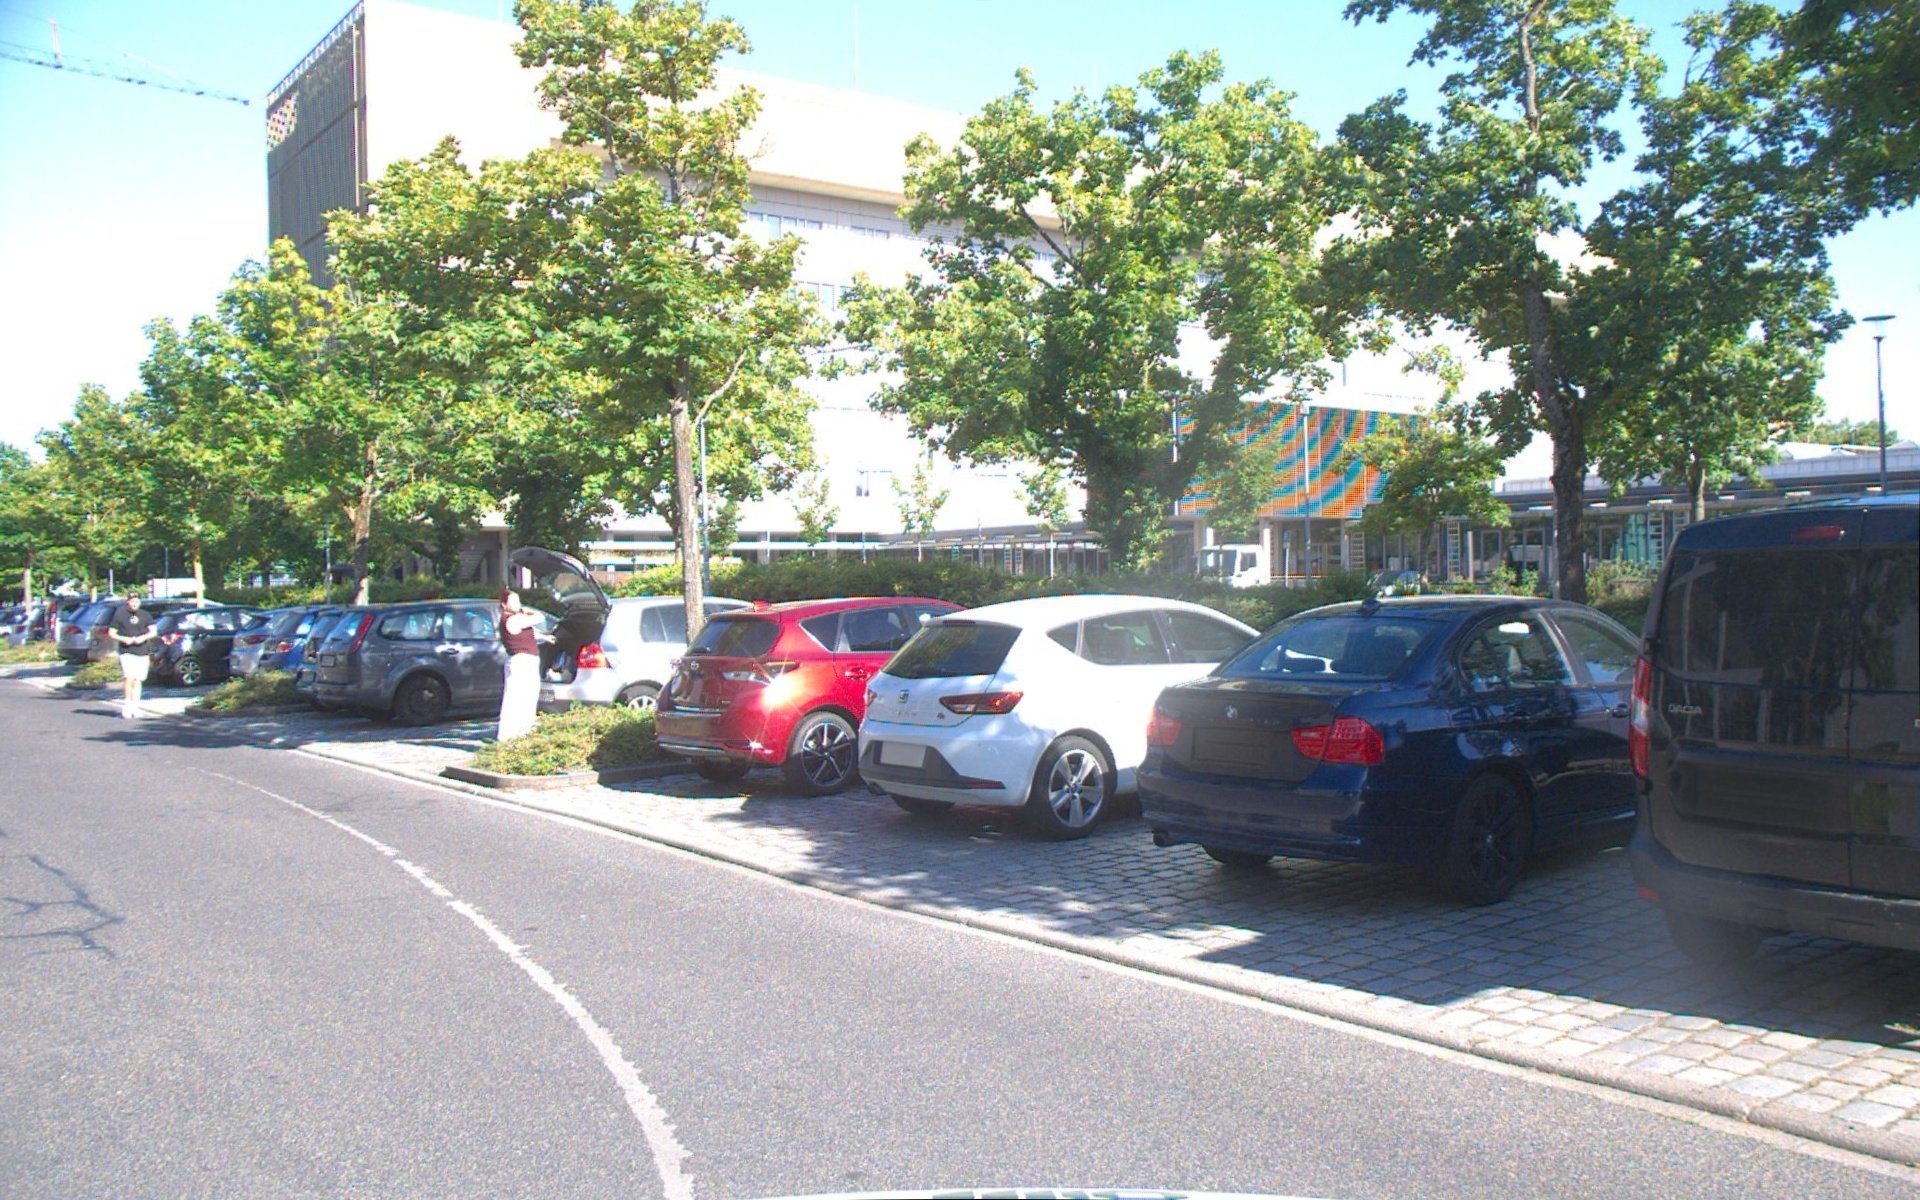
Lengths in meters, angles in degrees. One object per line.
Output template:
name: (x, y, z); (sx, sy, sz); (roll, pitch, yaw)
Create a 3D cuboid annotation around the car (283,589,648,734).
car: (-6.309, 0.715, 21.327); (4.158, 1.546, 1.713); (-3, 1, -39)

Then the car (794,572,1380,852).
car: (0.976, 0.627, 11.489); (3.873, 1.461, 1.784); (-4, 2, -38)

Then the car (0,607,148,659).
car: (-28.893, 1.054, 53.972); (4.029, 1.450, 1.720); (-3, 1, -35)

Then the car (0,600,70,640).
car: (-40.844, 0.894, 71.512); (3.956, 1.609, 2.006); (-2, 0, -36)

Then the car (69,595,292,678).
car: (-17.939, 0.801, 38.162); (4.295, 1.636, 1.884); (-3, 1, -40)

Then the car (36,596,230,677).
car: (-19.885, 0.831, 39.830); (3.873, 1.725, 1.914); (-2, 2, -38)

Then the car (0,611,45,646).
car: (-43.878, 1.330, 75.195); (3.738, 1.485, 1.794); (-2, 0, -37)

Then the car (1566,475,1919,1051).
car: (4.560, 0.431, 6.873); (4.124, 1.878, 1.856); (-4, 2, -37)

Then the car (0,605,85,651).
car: (-36.098, 1.095, 63.584); (4.115, 1.607, 1.717); (-3, 2, -38)

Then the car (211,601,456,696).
car: (-11.034, 0.802, 29.194); (3.702, 1.441, 1.820); (-3, 1, -35)

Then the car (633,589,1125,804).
car: (-0.596, 0.708, 13.856); (3.873, 1.451, 1.649); (-2, 0, -39)

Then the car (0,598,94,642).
car: (-34.659, 0.752, 61.773); (3.837, 1.530, 1.629); (-2, 1, -39)

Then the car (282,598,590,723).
car: (-7.390, 0.788, 23.509); (3.873, 1.493, 1.599); (-2, 2, -39)

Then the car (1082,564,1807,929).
car: (2.818, 0.616, 9.185); (4.127, 1.430, 1.804); (-4, 2, -38)

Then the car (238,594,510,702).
car: (-9.614, 0.736, 27.224); (3.863, 1.523, 1.820); (-3, 1, -35)

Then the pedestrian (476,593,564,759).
pedestrian: (-4.417, 0.742, 16.636); (0.750, 1.606, 0.673); (-1, 1, -8)

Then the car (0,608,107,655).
car: (-32.938, 1.120, 59.393); (3.872, 1.512, 1.720); (-2, 1, -37)

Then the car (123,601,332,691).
car: (-14.441, 0.884, 32.670); (3.430, 1.514, 1.723); (-4, 1, -38)

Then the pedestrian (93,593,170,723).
pedestrian: (-12.001, 0.824, 23.953); (0.714, 1.802, 1.153); (-3, 1, -37)

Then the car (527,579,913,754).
car: (-2.548, 0.627, 18.040); (3.873, 1.605, 1.657); (-2, 2, -39)

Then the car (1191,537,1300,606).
car: (11.009, -1.089, 63.718); (3.603, 2.534, 2.206); (-2, 1, -35)

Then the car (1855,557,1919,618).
car: (25.876, -0.366, 44.264); (3.862, 1.523, 1.820); (-3, 1, -35)

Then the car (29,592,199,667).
car: (-24.670, 0.821, 48.287); (4.091, 1.961, 1.951); (-2, 2, -39)
